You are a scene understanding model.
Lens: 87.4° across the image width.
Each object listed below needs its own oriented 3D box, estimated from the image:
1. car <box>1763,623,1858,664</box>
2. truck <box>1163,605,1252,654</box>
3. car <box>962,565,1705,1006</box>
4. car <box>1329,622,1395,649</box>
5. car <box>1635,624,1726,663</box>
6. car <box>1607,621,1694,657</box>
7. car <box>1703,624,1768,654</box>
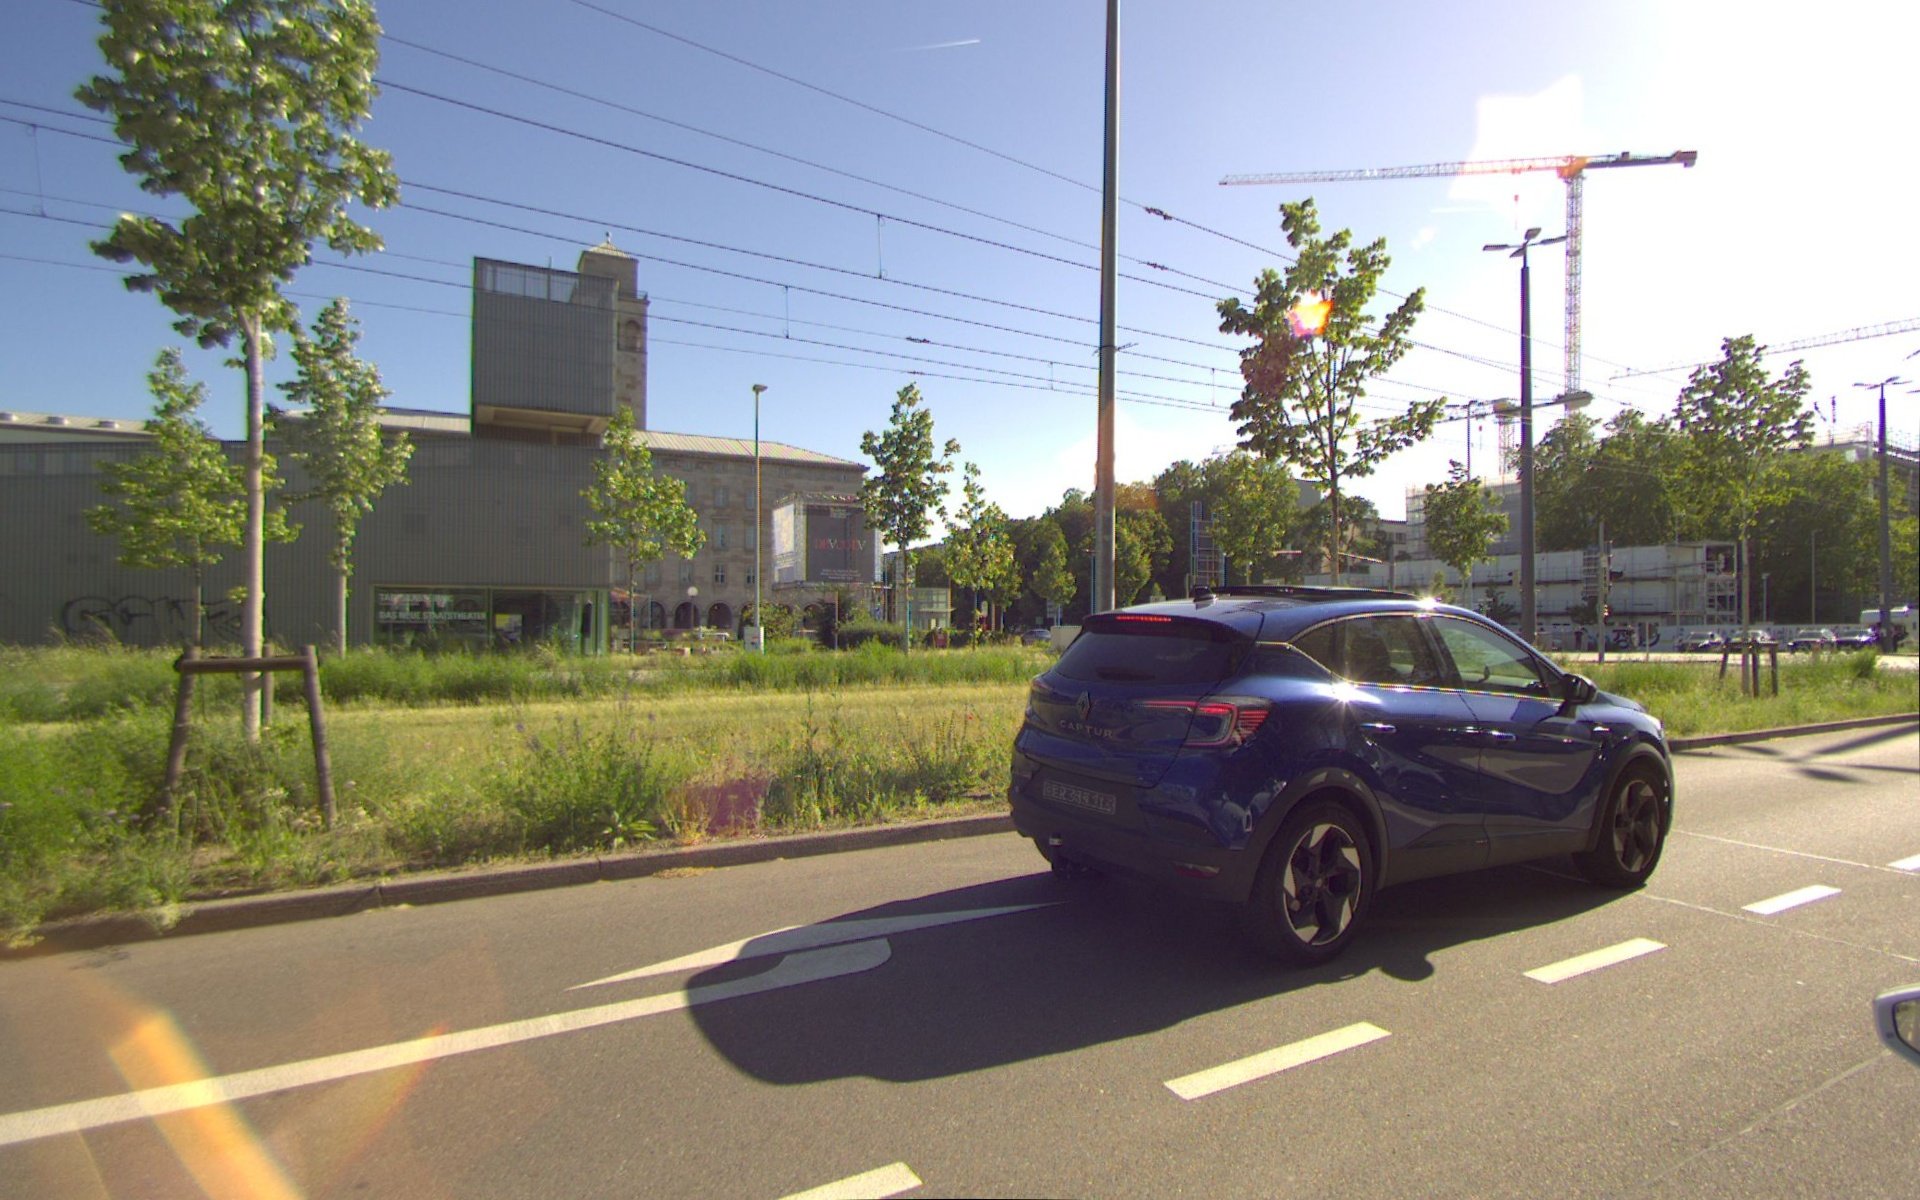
[{"bbox_3d":[27.150,1.393,32.043,3.184,1.194,1.369,2,0,-31],"label":"car"},{"bbox_3d":[16.922,1.978,69.146,1.974,3.002,6.941,2,0,-26],"label":"truck"},{"bbox_3d":[2.207,0.713,5.580,4.106,1.644,1.735,1,0,-32],"label":"car"},{"bbox_3d":[25.067,2.227,62.647,3.953,1.577,1.702,2,0,-30],"label":"car"},{"bbox_3d":[24.500,1.480,34.130,3.184,1.194,1.369,2,0,-31],"label":"car"},{"bbox_3d":[25.010,1.417,36.368,3.184,1.194,1.369,2,0,-31],"label":"car"},{"bbox_3d":[47.134,2.373,61.057,3.851,1.634,1.828,2,0,-31],"label":"car"}]
